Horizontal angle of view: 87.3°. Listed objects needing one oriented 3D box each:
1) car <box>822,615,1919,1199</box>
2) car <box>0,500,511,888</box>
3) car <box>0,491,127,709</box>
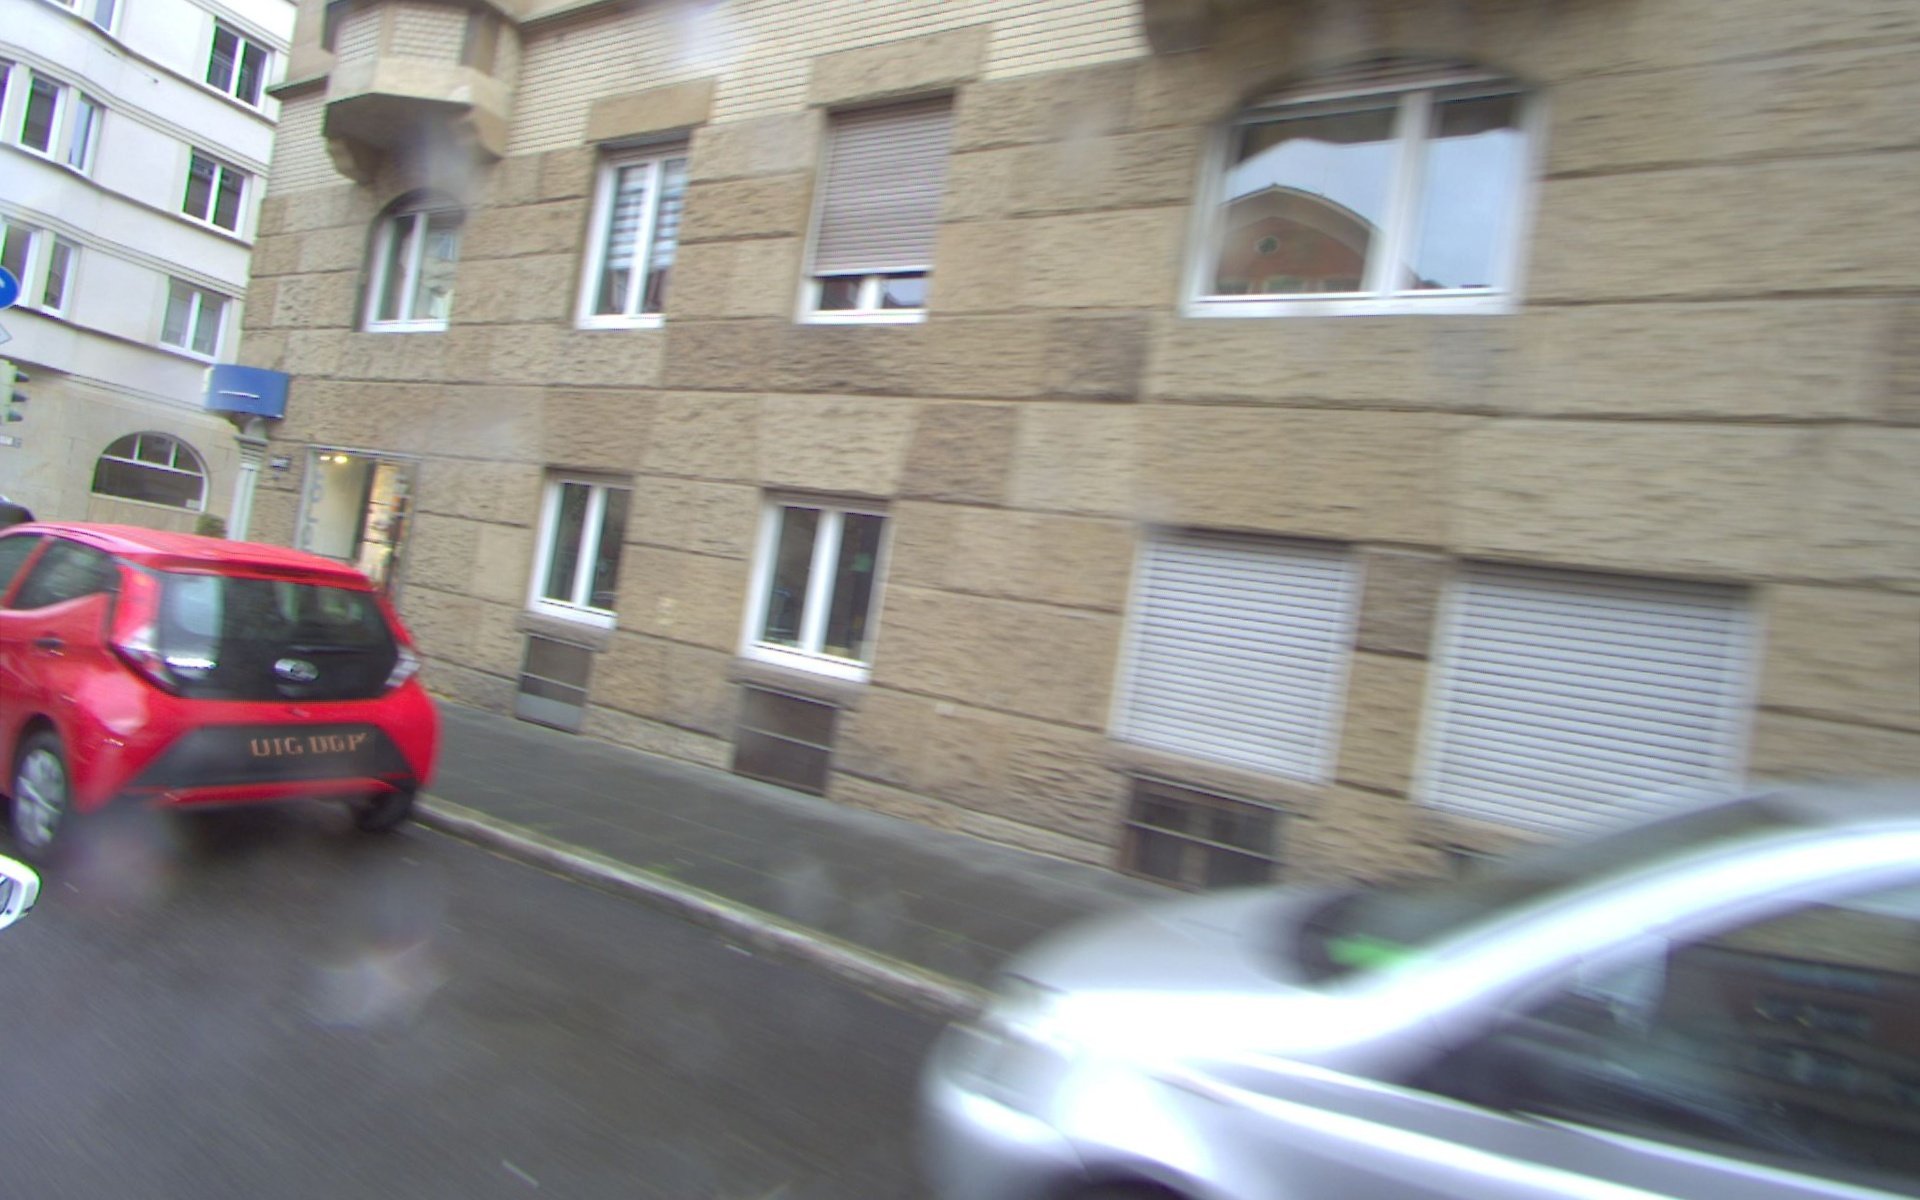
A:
[{"bbox_3d":[1.638,1.018,1.861,3.464,1.504,1.597,6,-2,32],"label":"car"},{"bbox_3d":[-4.458,0.334,5.568,3.472,1.469,1.711,6,-3,29],"label":"car"},{"bbox_3d":[-8.830,-0.219,8.169,3.925,1.565,1.872,6,-3,32],"label":"car"}]
